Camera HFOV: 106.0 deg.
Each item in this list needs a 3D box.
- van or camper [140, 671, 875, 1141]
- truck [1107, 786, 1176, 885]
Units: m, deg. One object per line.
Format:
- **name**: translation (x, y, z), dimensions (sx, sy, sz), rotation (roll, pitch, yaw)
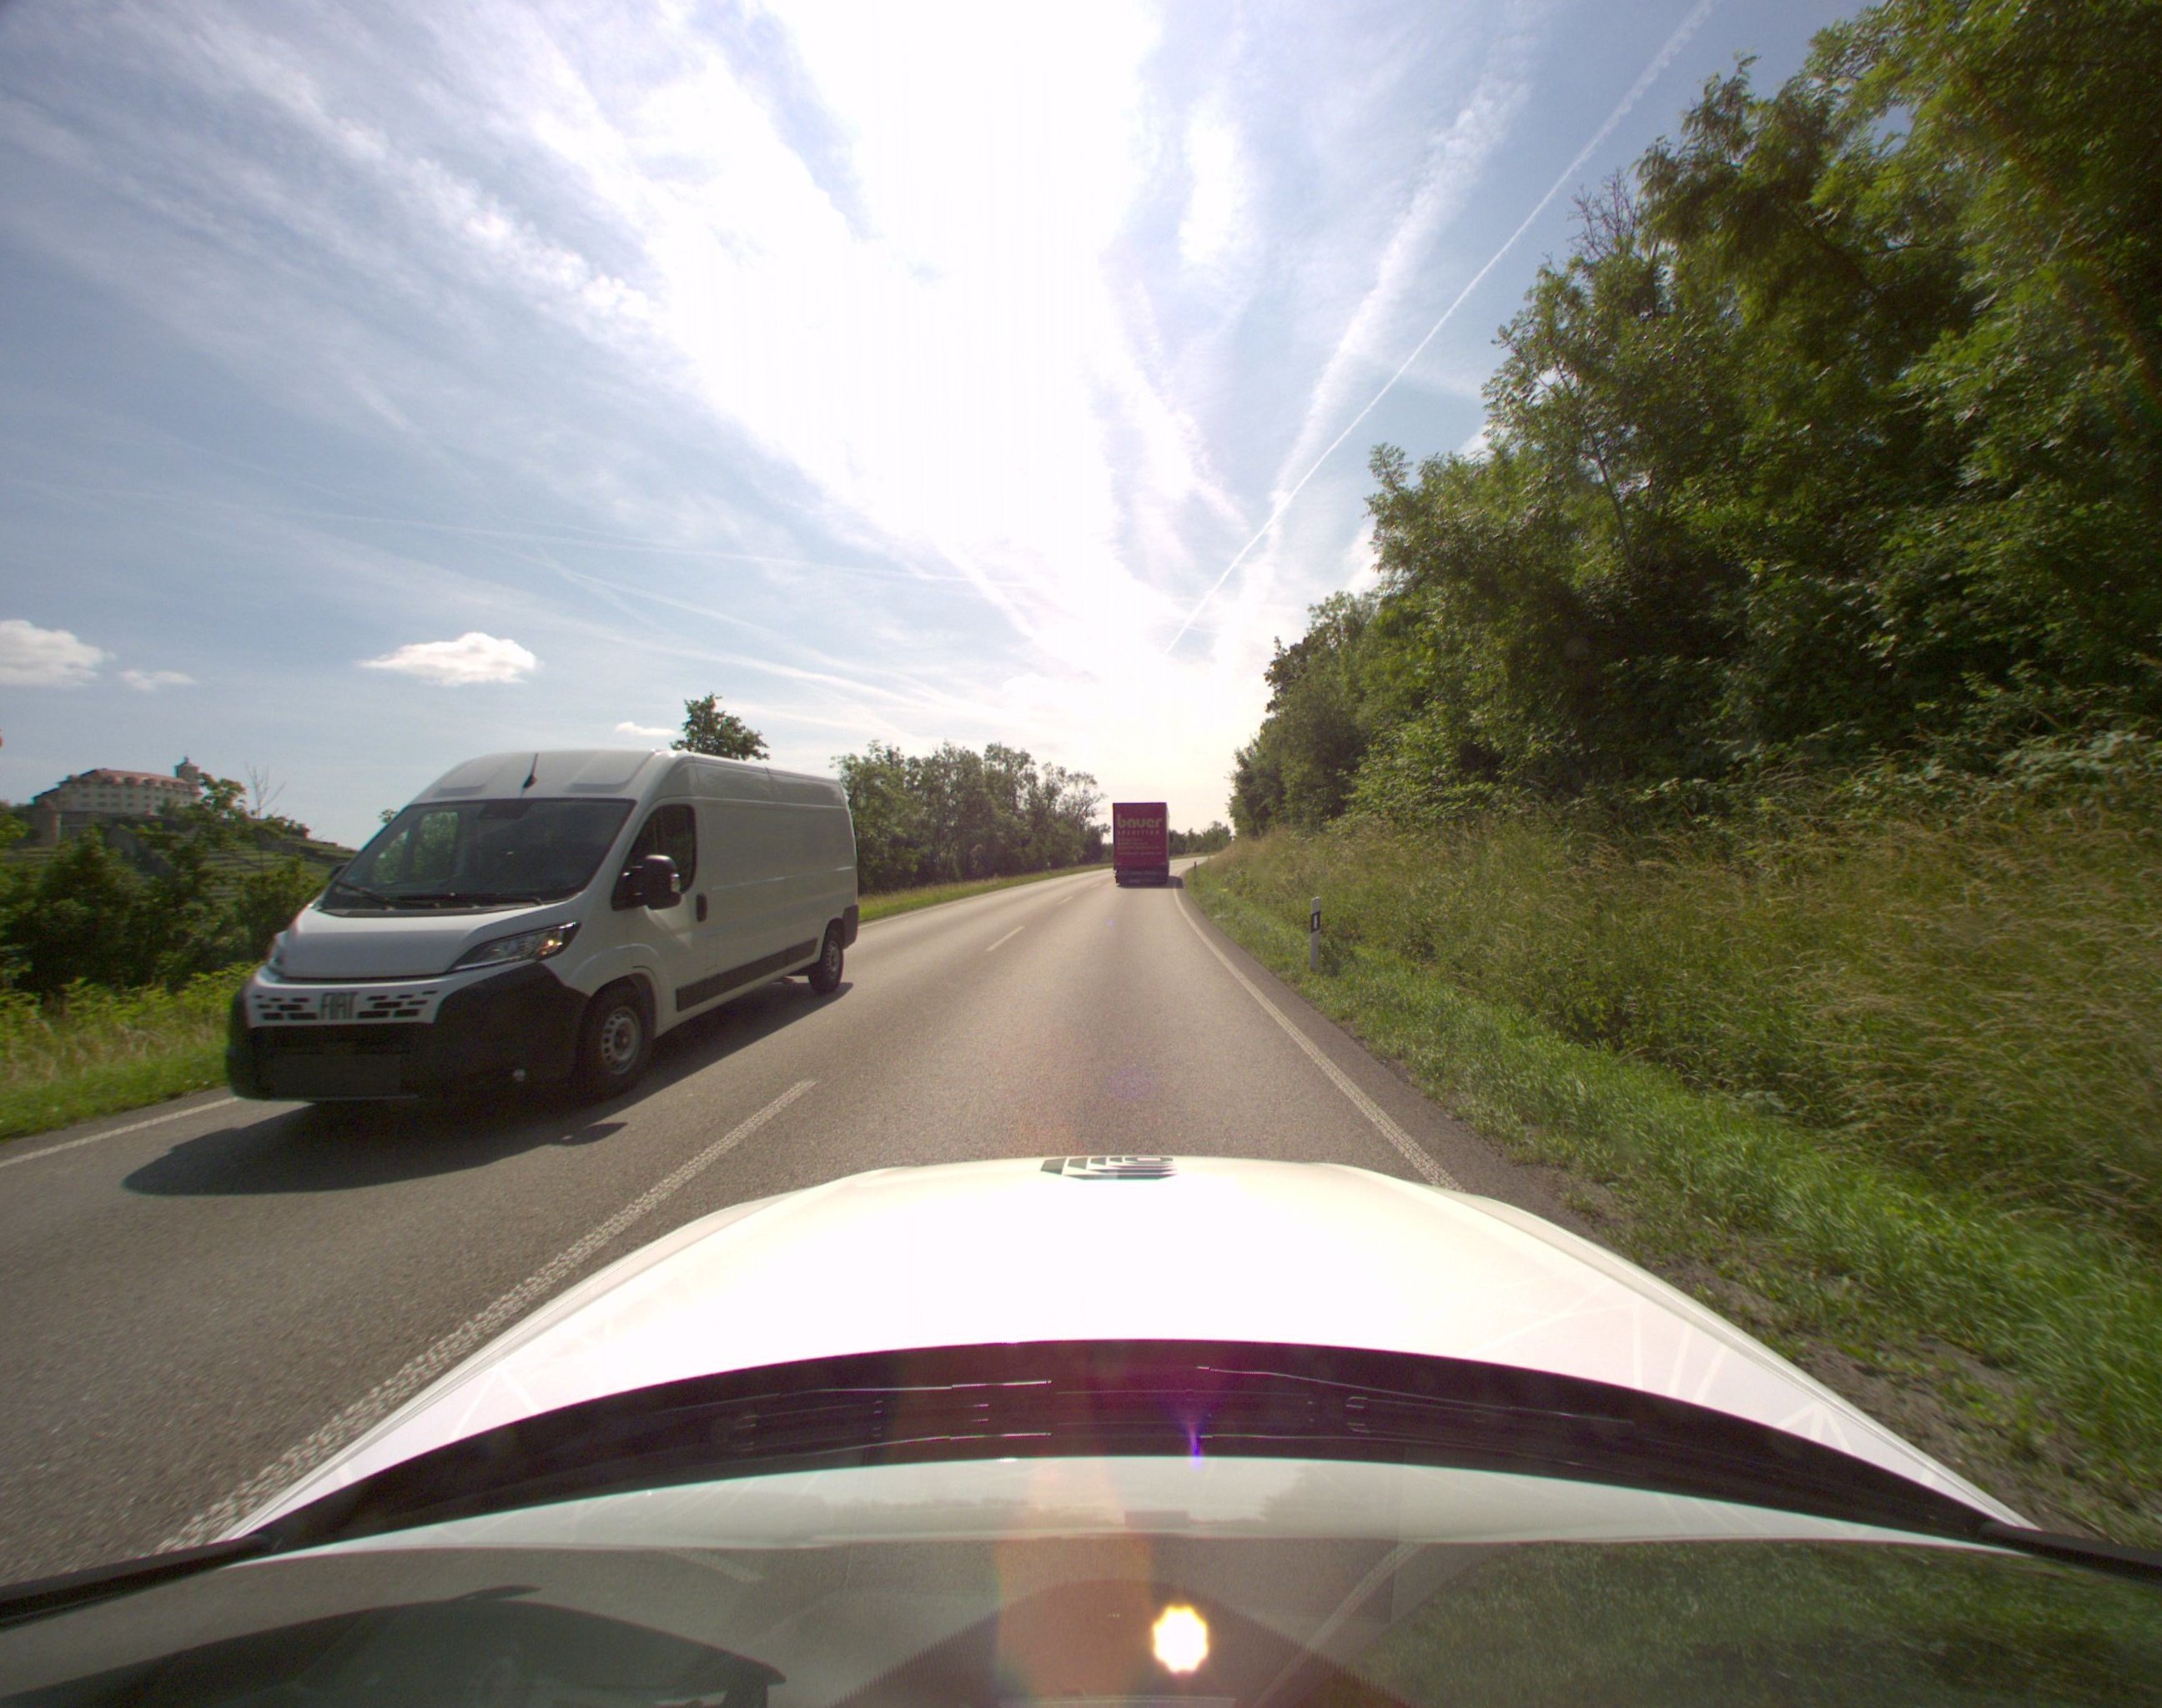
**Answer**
- **van or camper**: translation (-3.947, 0.297, 7.540), dimensions (2.199, 2.528, 6.137), rotation (-1, 0, 3)
- **truck**: translation (3.337, -0.863, 43.982), dimensions (3.097, 4.506, 12.184), rotation (-1, 0, 5)
